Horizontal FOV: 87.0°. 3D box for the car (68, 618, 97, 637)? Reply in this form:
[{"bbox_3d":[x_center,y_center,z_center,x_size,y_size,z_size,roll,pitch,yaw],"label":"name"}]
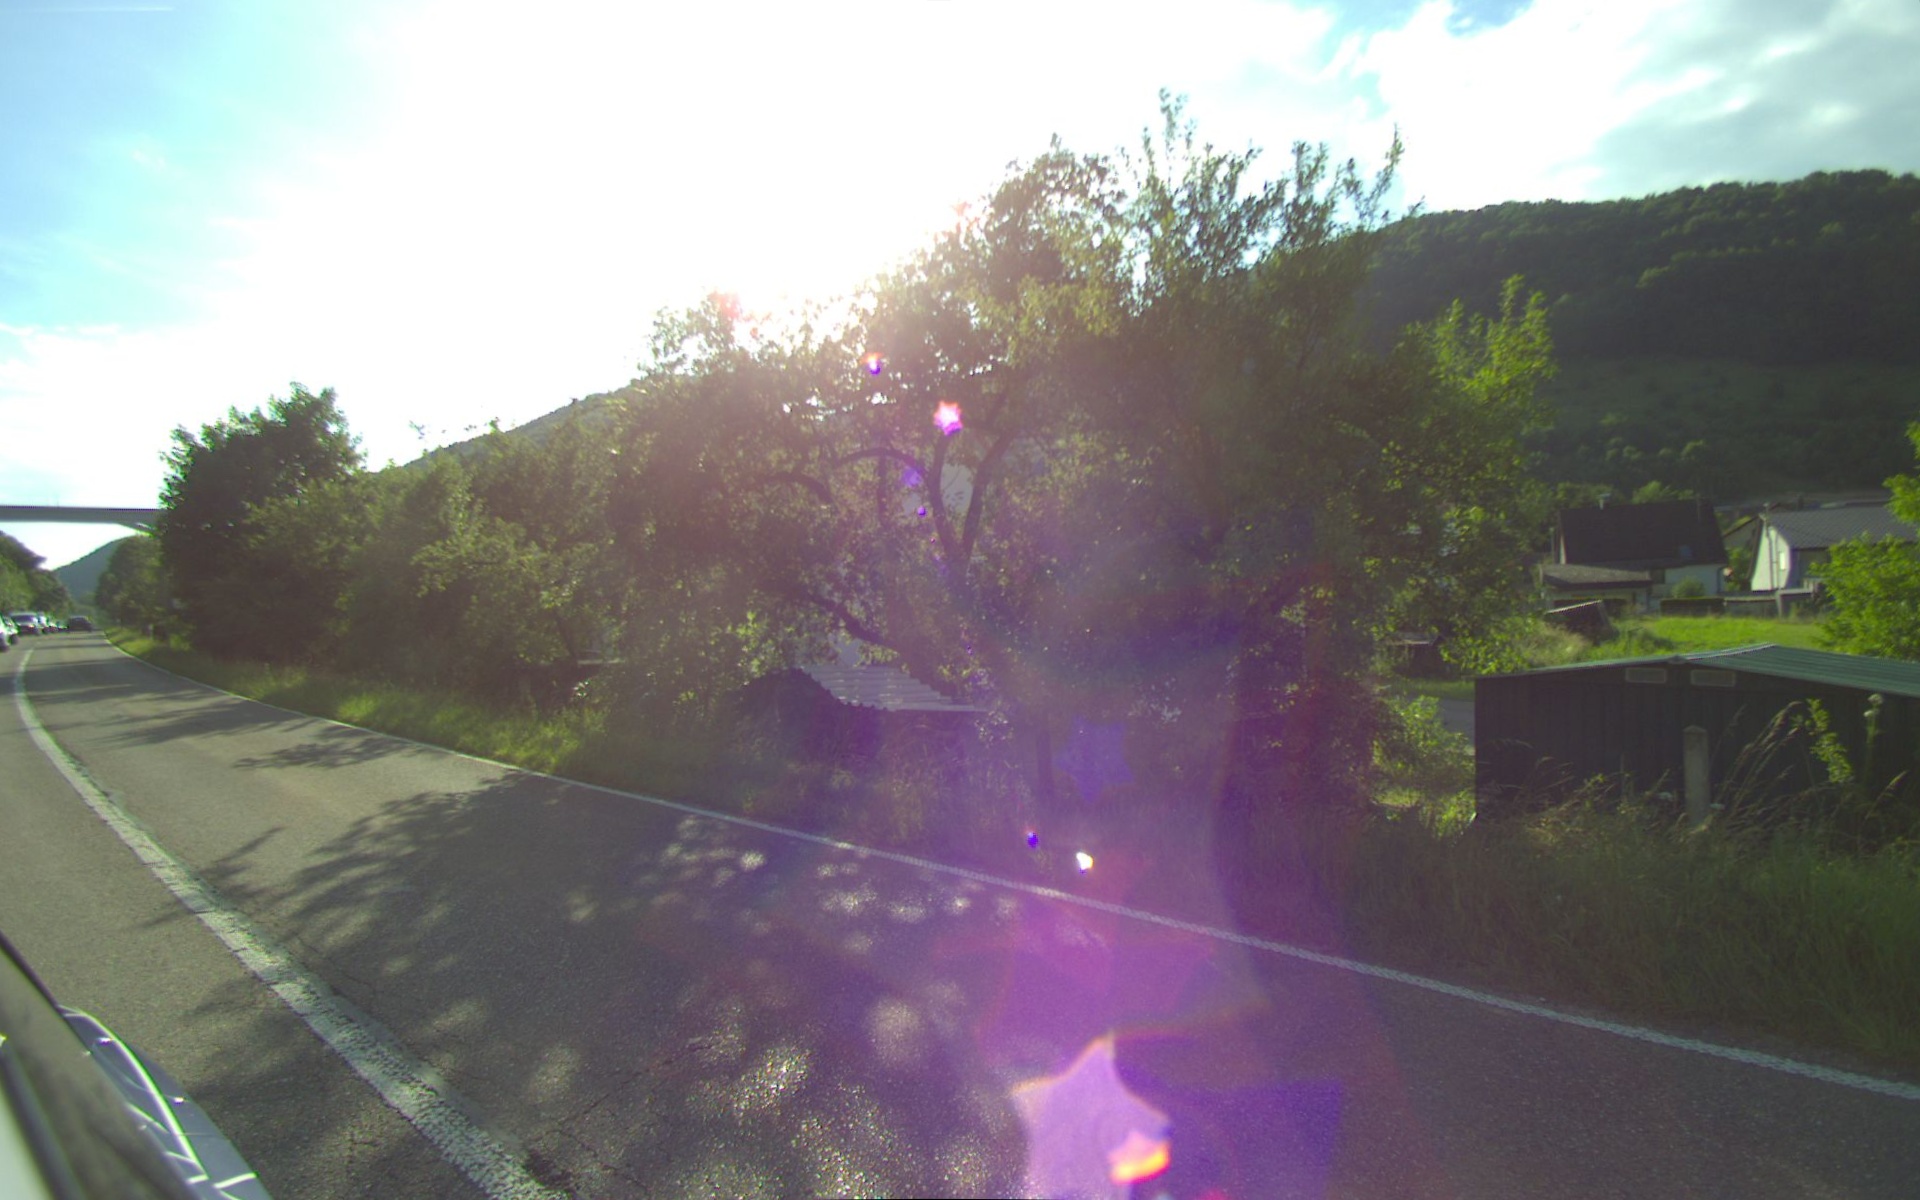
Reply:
[{"bbox_3d":[-78.425,2.449,90.426,1.792,1.630,3.809,1,-2,-43],"label":"car"}]

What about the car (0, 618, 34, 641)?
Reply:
[{"bbox_3d":[-68.893,2.149,73.755,1.791,1.630,4.007,1,-2,-39],"label":"car"}]

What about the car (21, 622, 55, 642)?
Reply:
[{"bbox_3d":[-76.509,2.639,84.044,1.790,1.630,4.008,1,-2,-38],"label":"car"}]

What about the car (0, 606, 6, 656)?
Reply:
[{"bbox_3d":[-40.972,1.269,42.058,1.887,2.029,4.004,1,-2,-43],"label":"car"}]
